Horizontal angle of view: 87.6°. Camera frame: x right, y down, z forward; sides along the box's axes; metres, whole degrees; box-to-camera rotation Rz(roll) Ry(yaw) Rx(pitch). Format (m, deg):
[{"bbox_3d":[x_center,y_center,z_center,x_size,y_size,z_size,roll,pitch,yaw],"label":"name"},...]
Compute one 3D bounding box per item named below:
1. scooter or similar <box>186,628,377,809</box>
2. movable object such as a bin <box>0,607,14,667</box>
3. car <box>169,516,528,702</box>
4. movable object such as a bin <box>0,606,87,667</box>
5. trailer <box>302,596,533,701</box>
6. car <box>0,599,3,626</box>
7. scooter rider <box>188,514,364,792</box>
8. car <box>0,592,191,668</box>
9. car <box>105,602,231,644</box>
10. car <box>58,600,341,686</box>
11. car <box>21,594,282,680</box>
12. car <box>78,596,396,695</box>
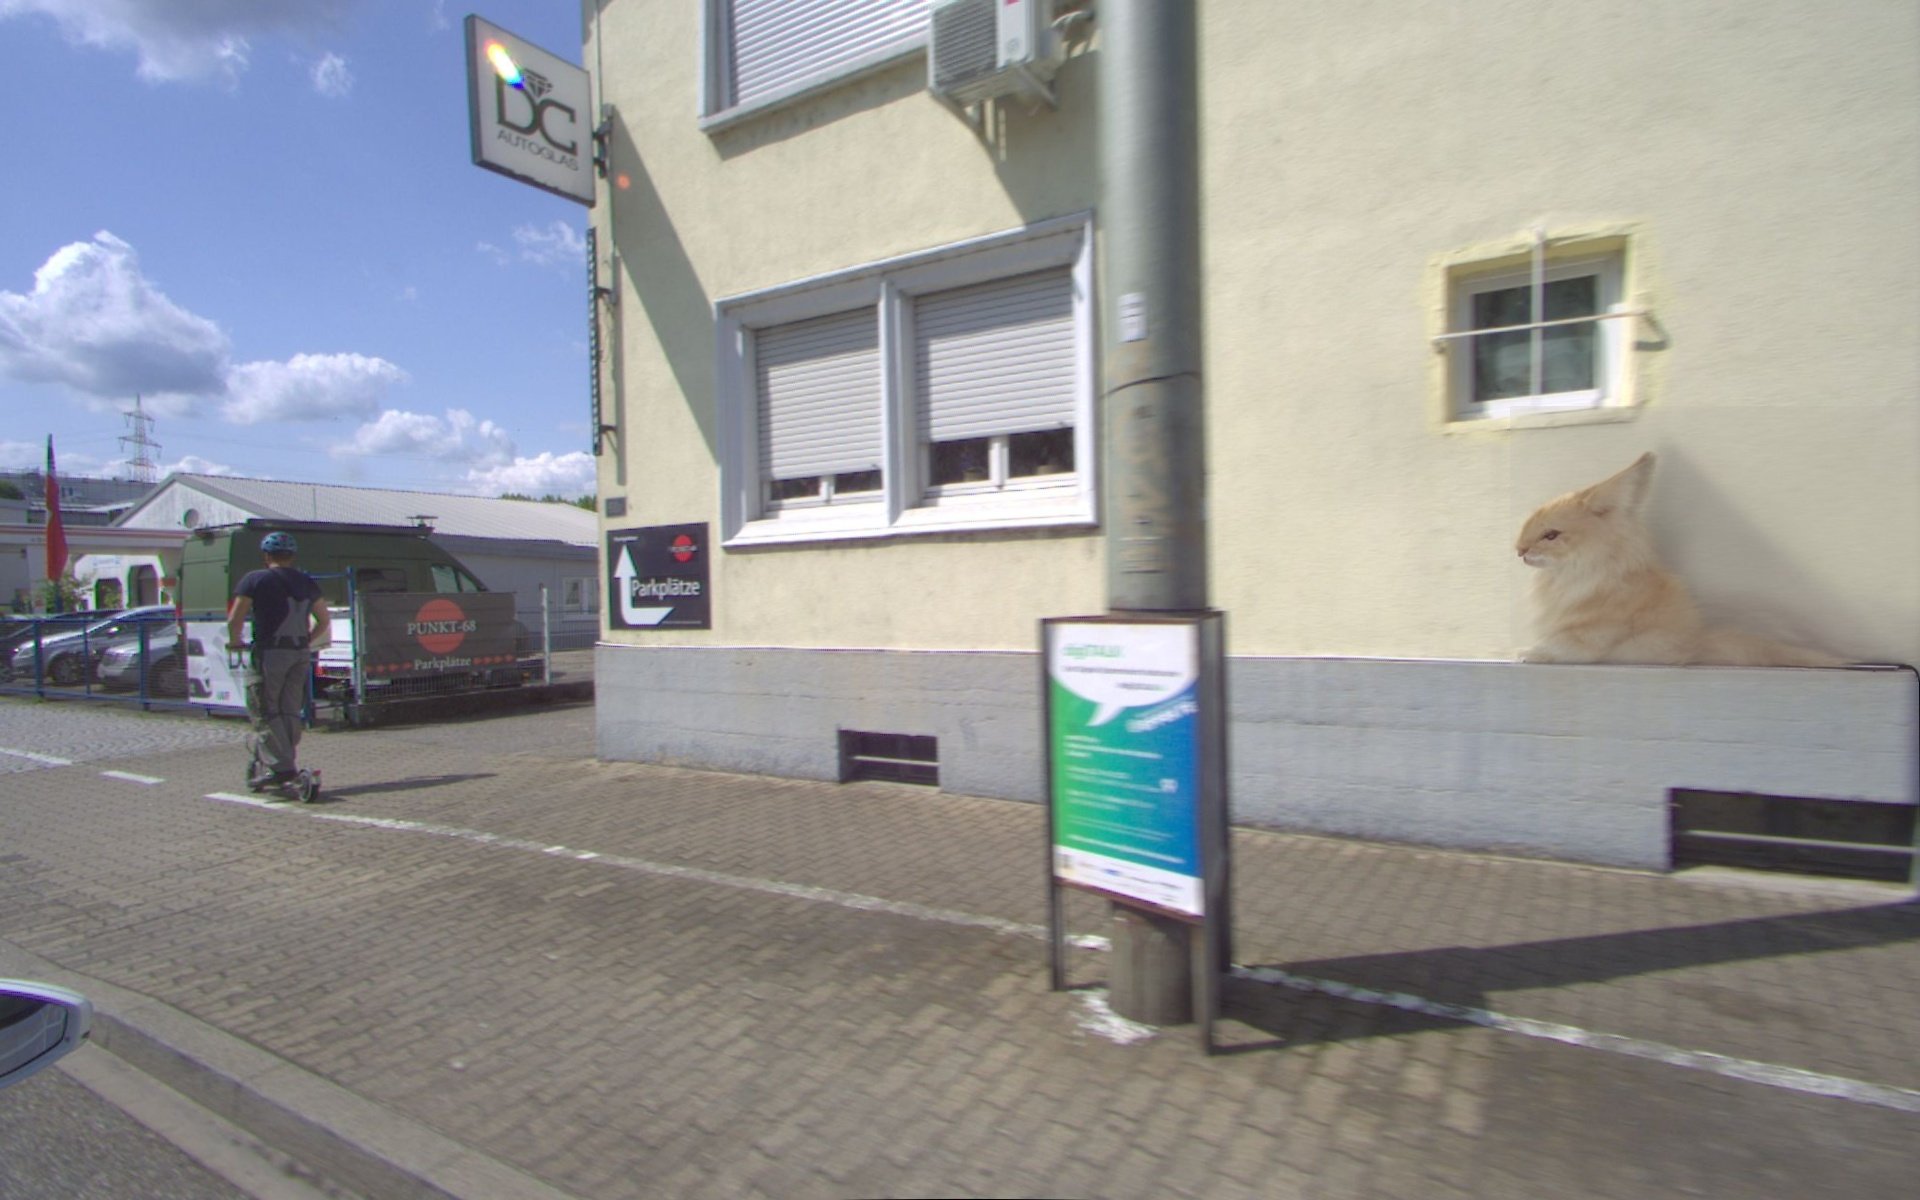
[{"bbox_3d":[-5.121,0.841,7.529,1.588,1.211,0.539,-1,3,32],"label":"scooter or similar"},{"bbox_3d":[-24.060,0.940,24.411,0.812,1.464,1.253,-1,2,33],"label":"movable object such as a bin"},{"bbox_3d":[-9.830,0.108,16.473,2.122,2.608,4.524,-1,1,34],"label":"car"},{"bbox_3d":[-23.360,0.915,25.542,0.939,1.464,1.319,-1,1,25],"label":"movable object such as a bin"},{"bbox_3d":[-8.139,0.673,15.203,1.284,1.351,2.775,-1,2,32],"label":"trailer"},{"bbox_3d":[-59.968,0.827,59.601,1.937,1.671,3.978,-1,1,32],"label":"car"},{"bbox_3d":[-5.225,0.378,7.663,0.774,1.990,0.715,-2,3,33],"label":"scooter rider"},{"bbox_3d":[-18.984,0.608,21.378,3.955,1.462,1.696,-2,1,-40],"label":"car"},{"bbox_3d":[-29.566,0.835,37.448,1.589,1.379,3.312,-1,1,32],"label":"car"},{"bbox_3d":[-14.299,0.734,18.990,1.799,1.374,3.967,-1,1,40],"label":"car"},{"bbox_3d":[-16.314,0.683,20.366,3.958,1.516,1.734,-2,1,-43],"label":"car"},{"bbox_3d":[-12.456,0.708,17.489,1.798,1.450,4.164,-1,1,39],"label":"car"}]
